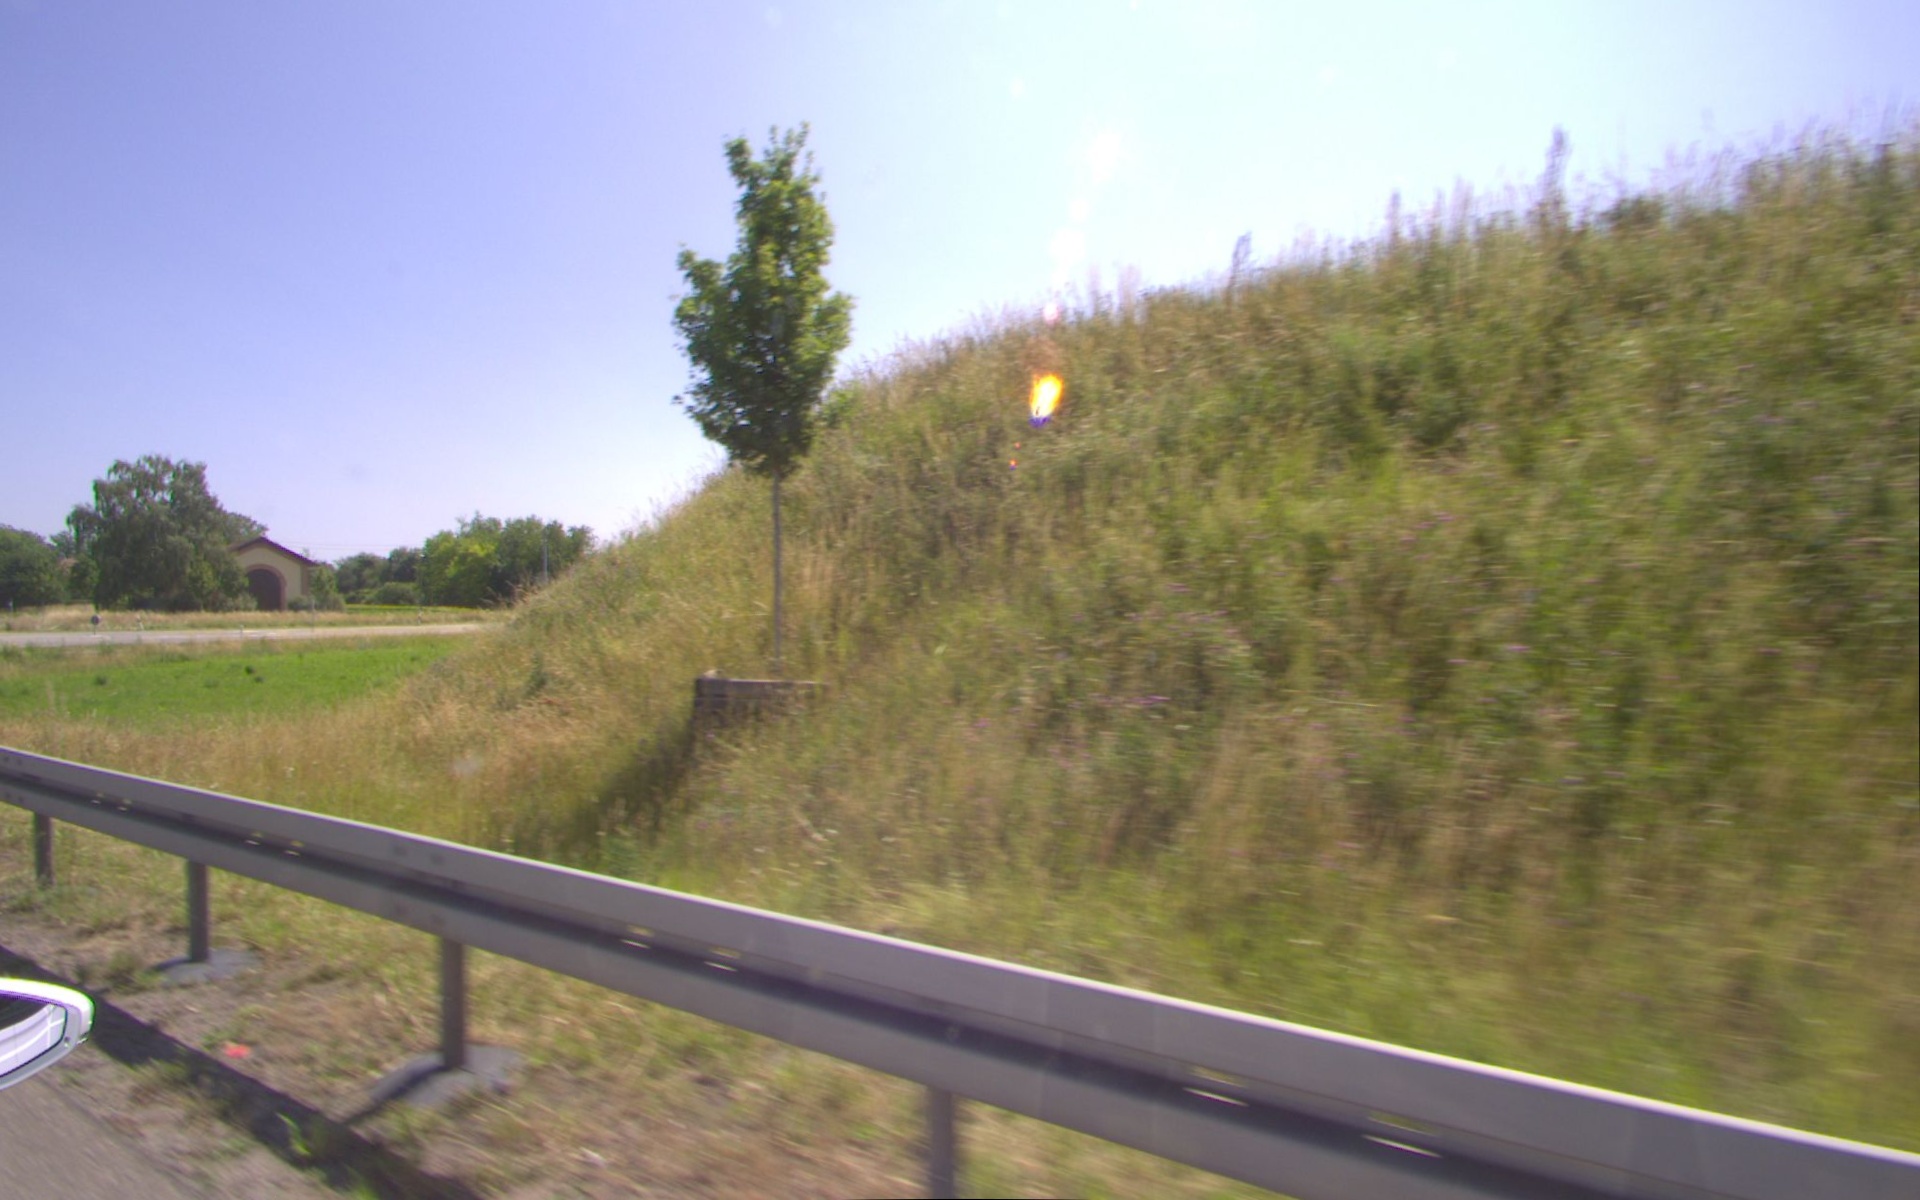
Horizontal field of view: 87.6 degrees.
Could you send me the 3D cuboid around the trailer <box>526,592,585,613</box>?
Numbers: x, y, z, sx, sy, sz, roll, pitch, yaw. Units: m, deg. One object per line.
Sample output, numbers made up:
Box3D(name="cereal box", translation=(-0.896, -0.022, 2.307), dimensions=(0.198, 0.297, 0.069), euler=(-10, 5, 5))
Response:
Box3D(name="trailer", translation=(-50.535, 0.288, 125.235), dimensions=(2.652, 2.489, 6.336), euler=(2, 2, 38))
